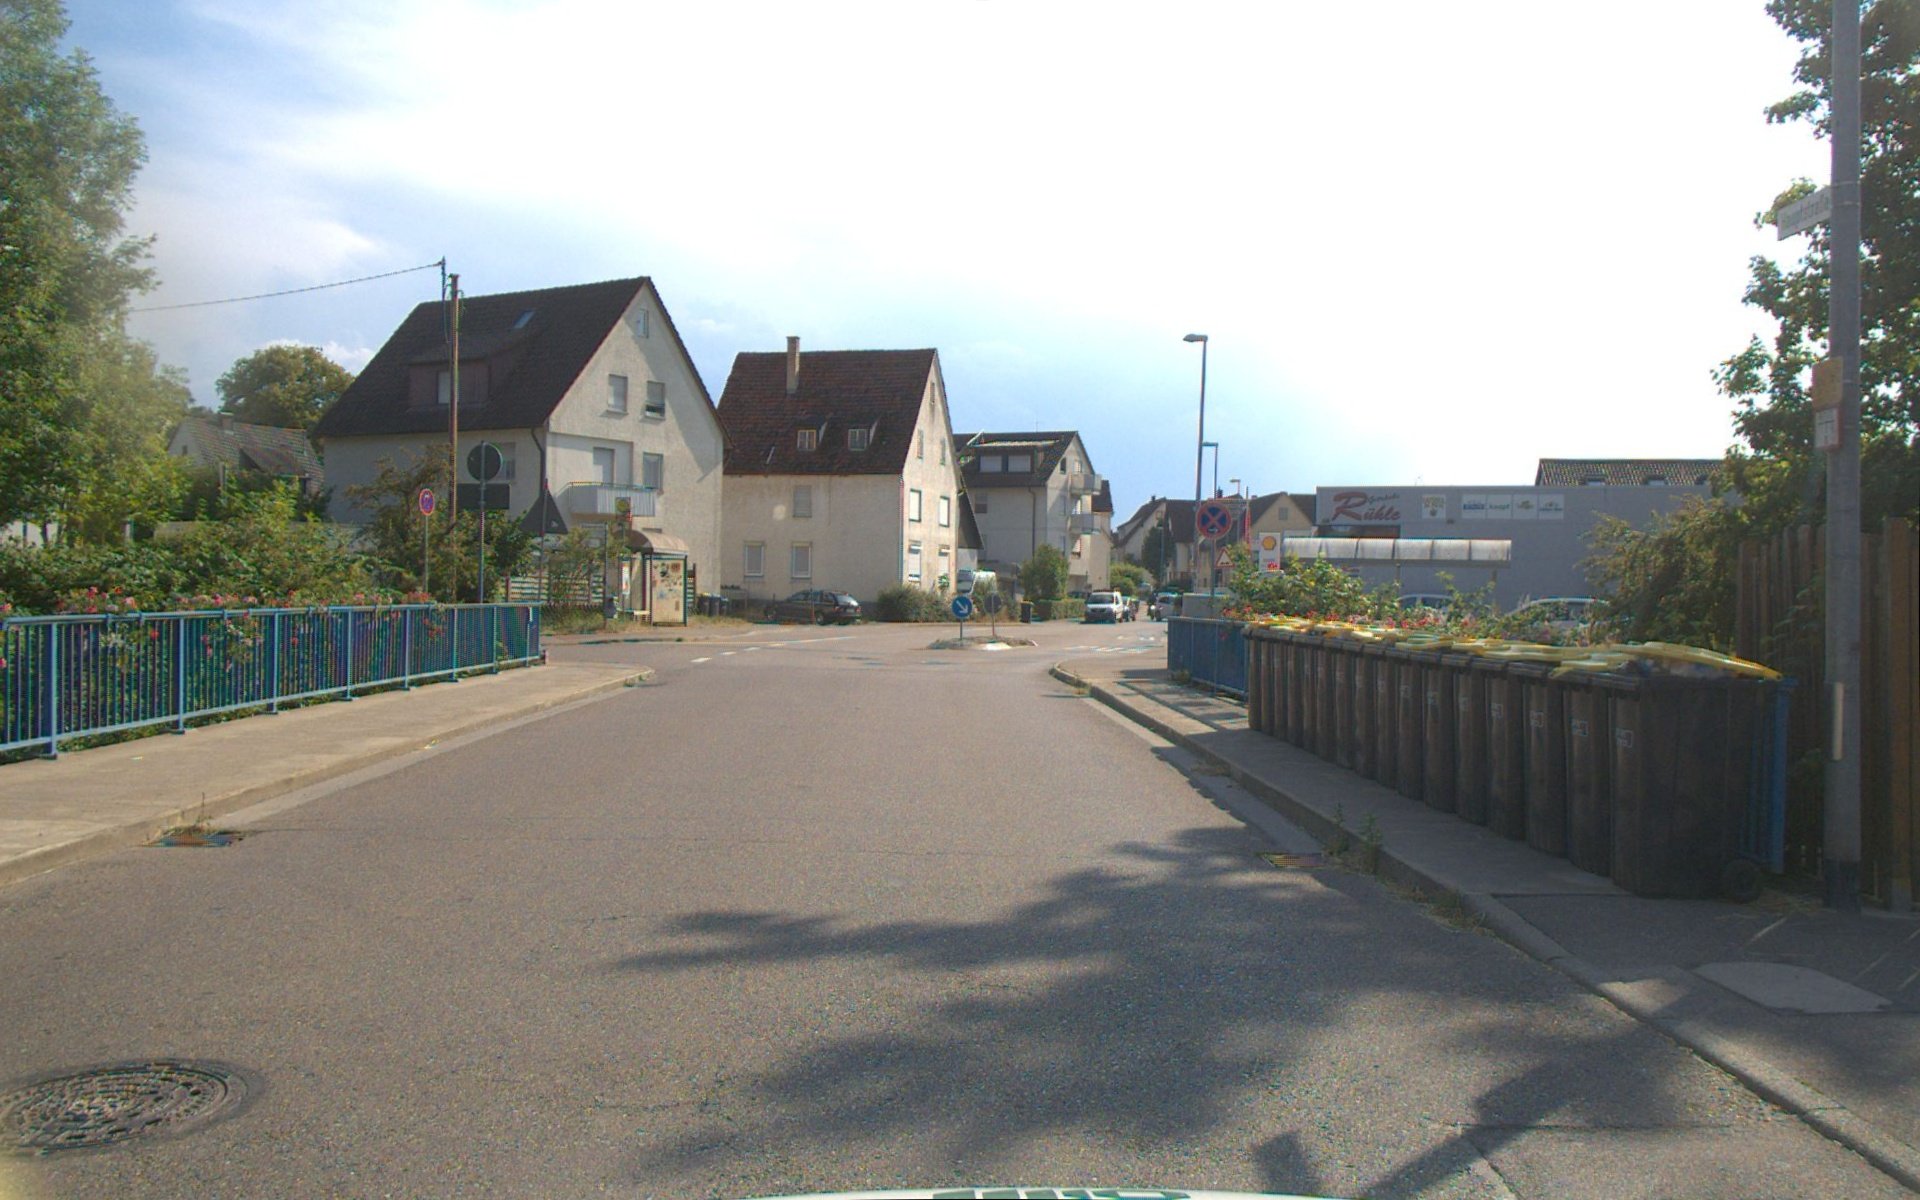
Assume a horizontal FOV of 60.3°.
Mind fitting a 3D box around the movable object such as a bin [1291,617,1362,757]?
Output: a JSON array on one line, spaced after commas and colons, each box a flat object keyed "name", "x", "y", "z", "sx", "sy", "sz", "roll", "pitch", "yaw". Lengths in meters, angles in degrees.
[{"name": "movable object such as a bin", "x": 3.133, "y": 0.734, "z": 14.158, "sx": 0.469, "sy": 1.163, "sz": 0.538, "roll": 0, "pitch": 0, "yaw": -2}]

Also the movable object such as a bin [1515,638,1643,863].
[{"name": "movable object such as a bin", "x": 3.340, "y": 0.798, "z": 8.949, "sx": 0.469, "sy": 1.163, "sz": 0.542, "roll": 0, "pitch": 0, "yaw": -2}]

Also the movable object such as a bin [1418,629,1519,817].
[{"name": "movable object such as a bin", "x": 3.272, "y": 0.781, "z": 10.669, "sx": 0.469, "sy": 1.163, "sz": 0.538, "roll": 0, "pitch": 0, "yaw": -2}]

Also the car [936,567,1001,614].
[{"name": "car", "x": 0.549, "y": -0.571, "z": 98.881, "sx": 2.113, "sy": 2.641, "sz": 6.097, "roll": 2, "pitch": 1, "yaw": 17}]

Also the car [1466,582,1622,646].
[{"name": "car", "x": 13.608, "y": 0.342, "z": 38.673, "sx": 3.365, "sy": 1.441, "sz": 1.499, "roll": -1, "pitch": -1, "yaw": 18}]

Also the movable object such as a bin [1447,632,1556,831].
[{"name": "movable object such as a bin", "x": 3.293, "y": 0.787, "z": 10.087, "sx": 0.469, "sy": 1.163, "sz": 0.538, "roll": 0, "pitch": 0, "yaw": -2}]

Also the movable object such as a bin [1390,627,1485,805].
[{"name": "movable object such as a bin", "x": 3.242, "y": 0.776, "z": 11.246, "sx": 0.469, "sy": 1.163, "sz": 0.538, "roll": 0, "pitch": 0, "yaw": -2}]

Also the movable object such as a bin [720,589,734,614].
[{"name": "movable object such as a bin", "x": -8.972, "y": 0.055, "z": 63.661, "sx": 0.354, "sy": 0.941, "sz": 0.399, "roll": 1, "pitch": -1, "yaw": 30}]

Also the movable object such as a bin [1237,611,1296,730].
[{"name": "movable object such as a bin", "x": 3.059, "y": 0.698, "z": 16.555, "sx": 0.469, "sy": 1.163, "sz": 0.538, "roll": 0, "pitch": 0, "yaw": -2}]

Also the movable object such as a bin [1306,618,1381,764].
[{"name": "movable object such as a bin", "x": 3.143, "y": 0.735, "z": 13.566, "sx": 0.469, "sy": 1.163, "sz": 0.538, "roll": 0, "pitch": 0, "yaw": -2}]

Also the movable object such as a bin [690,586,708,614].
[{"name": "movable object such as a bin", "x": -9.795, "y": 0.018, "z": 62.112, "sx": 0.354, "sy": 1.034, "sz": 0.557, "roll": 1, "pitch": -1, "yaw": 29}]

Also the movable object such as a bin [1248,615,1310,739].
[{"name": "movable object such as a bin", "x": 3.062, "y": 0.732, "z": 15.891, "sx": 0.469, "sy": 1.163, "sz": 0.538, "roll": 0, "pitch": 0, "yaw": -2}]

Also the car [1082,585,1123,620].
[{"name": "car", "x": 8.172, "y": 0.118, "z": 94.693, "sx": 1.680, "sy": 1.905, "sz": 4.195, "roll": 0, "pitch": 0, "yaw": 14}]

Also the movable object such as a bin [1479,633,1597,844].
[{"name": "movable object such as a bin", "x": 3.319, "y": 0.783, "z": 9.521, "sx": 0.469, "sy": 1.163, "sz": 0.538, "roll": 0, "pitch": 0, "yaw": -2}]

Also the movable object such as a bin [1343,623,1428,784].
[{"name": "movable object such as a bin", "x": 3.181, "y": 0.764, "z": 12.401, "sx": 0.469, "sy": 1.163, "sz": 0.564, "roll": 0, "pitch": 0, "yaw": -2}]

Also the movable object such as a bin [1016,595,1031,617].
[{"name": "movable object such as a bin", "x": 3.256, "y": 0.304, "z": 84.967, "sx": 0.598, "sy": 1.120, "sz": 0.576, "roll": 2, "pitch": 0, "yaw": 13}]

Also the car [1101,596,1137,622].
[{"name": "car", "x": 9.541, "y": 0.546, "z": 99.272, "sx": 1.637, "sy": 1.477, "sz": 3.838, "roll": 0, "pitch": 1, "yaw": 14}]

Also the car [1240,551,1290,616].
[{"name": "car", "x": 11.813, "y": -0.620, "z": 64.261, "sx": 1.797, "sy": 2.416, "sz": 5.183, "roll": 0, "pitch": 0, "yaw": 9}]

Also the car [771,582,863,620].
[{"name": "car", "x": -6.168, "y": 0.017, "z": 71.150, "sx": 3.928, "sy": 1.458, "sz": 1.644, "roll": 3, "pitch": 2, "yaw": 41}]

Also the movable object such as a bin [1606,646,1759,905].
[{"name": "movable object such as a bin", "x": 3.403, "y": 0.809, "z": 7.820, "sx": 0.469, "sy": 1.163, "sz": 0.538, "roll": 0, "pitch": 0, "yaw": -2}]

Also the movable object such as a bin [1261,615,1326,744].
[{"name": "movable object such as a bin", "x": 3.084, "y": 0.726, "z": 15.322, "sx": 0.469, "sy": 1.163, "sz": 0.538, "roll": 0, "pitch": 0, "yaw": -2}]

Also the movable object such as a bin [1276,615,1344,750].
[{"name": "movable object such as a bin", "x": 3.110, "y": 0.726, "z": 14.734, "sx": 0.469, "sy": 1.163, "sz": 0.538, "roll": 0, "pitch": 0, "yaw": -2}]

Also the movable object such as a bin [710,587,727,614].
[{"name": "movable object such as a bin", "x": -9.220, "y": 0.022, "z": 63.155, "sx": 0.354, "sy": 1.041, "sz": 0.576, "roll": 1, "pitch": -1, "yaw": 29}]

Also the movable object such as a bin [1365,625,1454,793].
[{"name": "movable object such as a bin", "x": 3.208, "y": 0.765, "z": 11.821, "sx": 0.469, "sy": 1.163, "sz": 0.538, "roll": 0, "pitch": 0, "yaw": -2}]

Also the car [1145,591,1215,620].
[{"name": "car", "x": 13.317, "y": 0.300, "z": 100.239, "sx": 1.978, "sy": 1.636, "sz": 3.948, "roll": 0, "pitch": 1, "yaw": -37}]

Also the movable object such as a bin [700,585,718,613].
[{"name": "movable object such as a bin", "x": -9.507, "y": -0.031, "z": 62.667, "sx": 0.354, "sy": 1.059, "sz": 0.557, "roll": 1, "pitch": -1, "yaw": 29}]

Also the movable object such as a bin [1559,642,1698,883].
[{"name": "movable object such as a bin", "x": 3.374, "y": 0.804, "z": 8.377, "sx": 0.469, "sy": 1.163, "sz": 0.538, "roll": 0, "pitch": 0, "yaw": -2}]

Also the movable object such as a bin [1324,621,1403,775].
[{"name": "movable object such as a bin", "x": 3.161, "y": 0.758, "z": 12.992, "sx": 0.469, "sy": 1.163, "sz": 0.538, "roll": 0, "pitch": 0, "yaw": -2}]
